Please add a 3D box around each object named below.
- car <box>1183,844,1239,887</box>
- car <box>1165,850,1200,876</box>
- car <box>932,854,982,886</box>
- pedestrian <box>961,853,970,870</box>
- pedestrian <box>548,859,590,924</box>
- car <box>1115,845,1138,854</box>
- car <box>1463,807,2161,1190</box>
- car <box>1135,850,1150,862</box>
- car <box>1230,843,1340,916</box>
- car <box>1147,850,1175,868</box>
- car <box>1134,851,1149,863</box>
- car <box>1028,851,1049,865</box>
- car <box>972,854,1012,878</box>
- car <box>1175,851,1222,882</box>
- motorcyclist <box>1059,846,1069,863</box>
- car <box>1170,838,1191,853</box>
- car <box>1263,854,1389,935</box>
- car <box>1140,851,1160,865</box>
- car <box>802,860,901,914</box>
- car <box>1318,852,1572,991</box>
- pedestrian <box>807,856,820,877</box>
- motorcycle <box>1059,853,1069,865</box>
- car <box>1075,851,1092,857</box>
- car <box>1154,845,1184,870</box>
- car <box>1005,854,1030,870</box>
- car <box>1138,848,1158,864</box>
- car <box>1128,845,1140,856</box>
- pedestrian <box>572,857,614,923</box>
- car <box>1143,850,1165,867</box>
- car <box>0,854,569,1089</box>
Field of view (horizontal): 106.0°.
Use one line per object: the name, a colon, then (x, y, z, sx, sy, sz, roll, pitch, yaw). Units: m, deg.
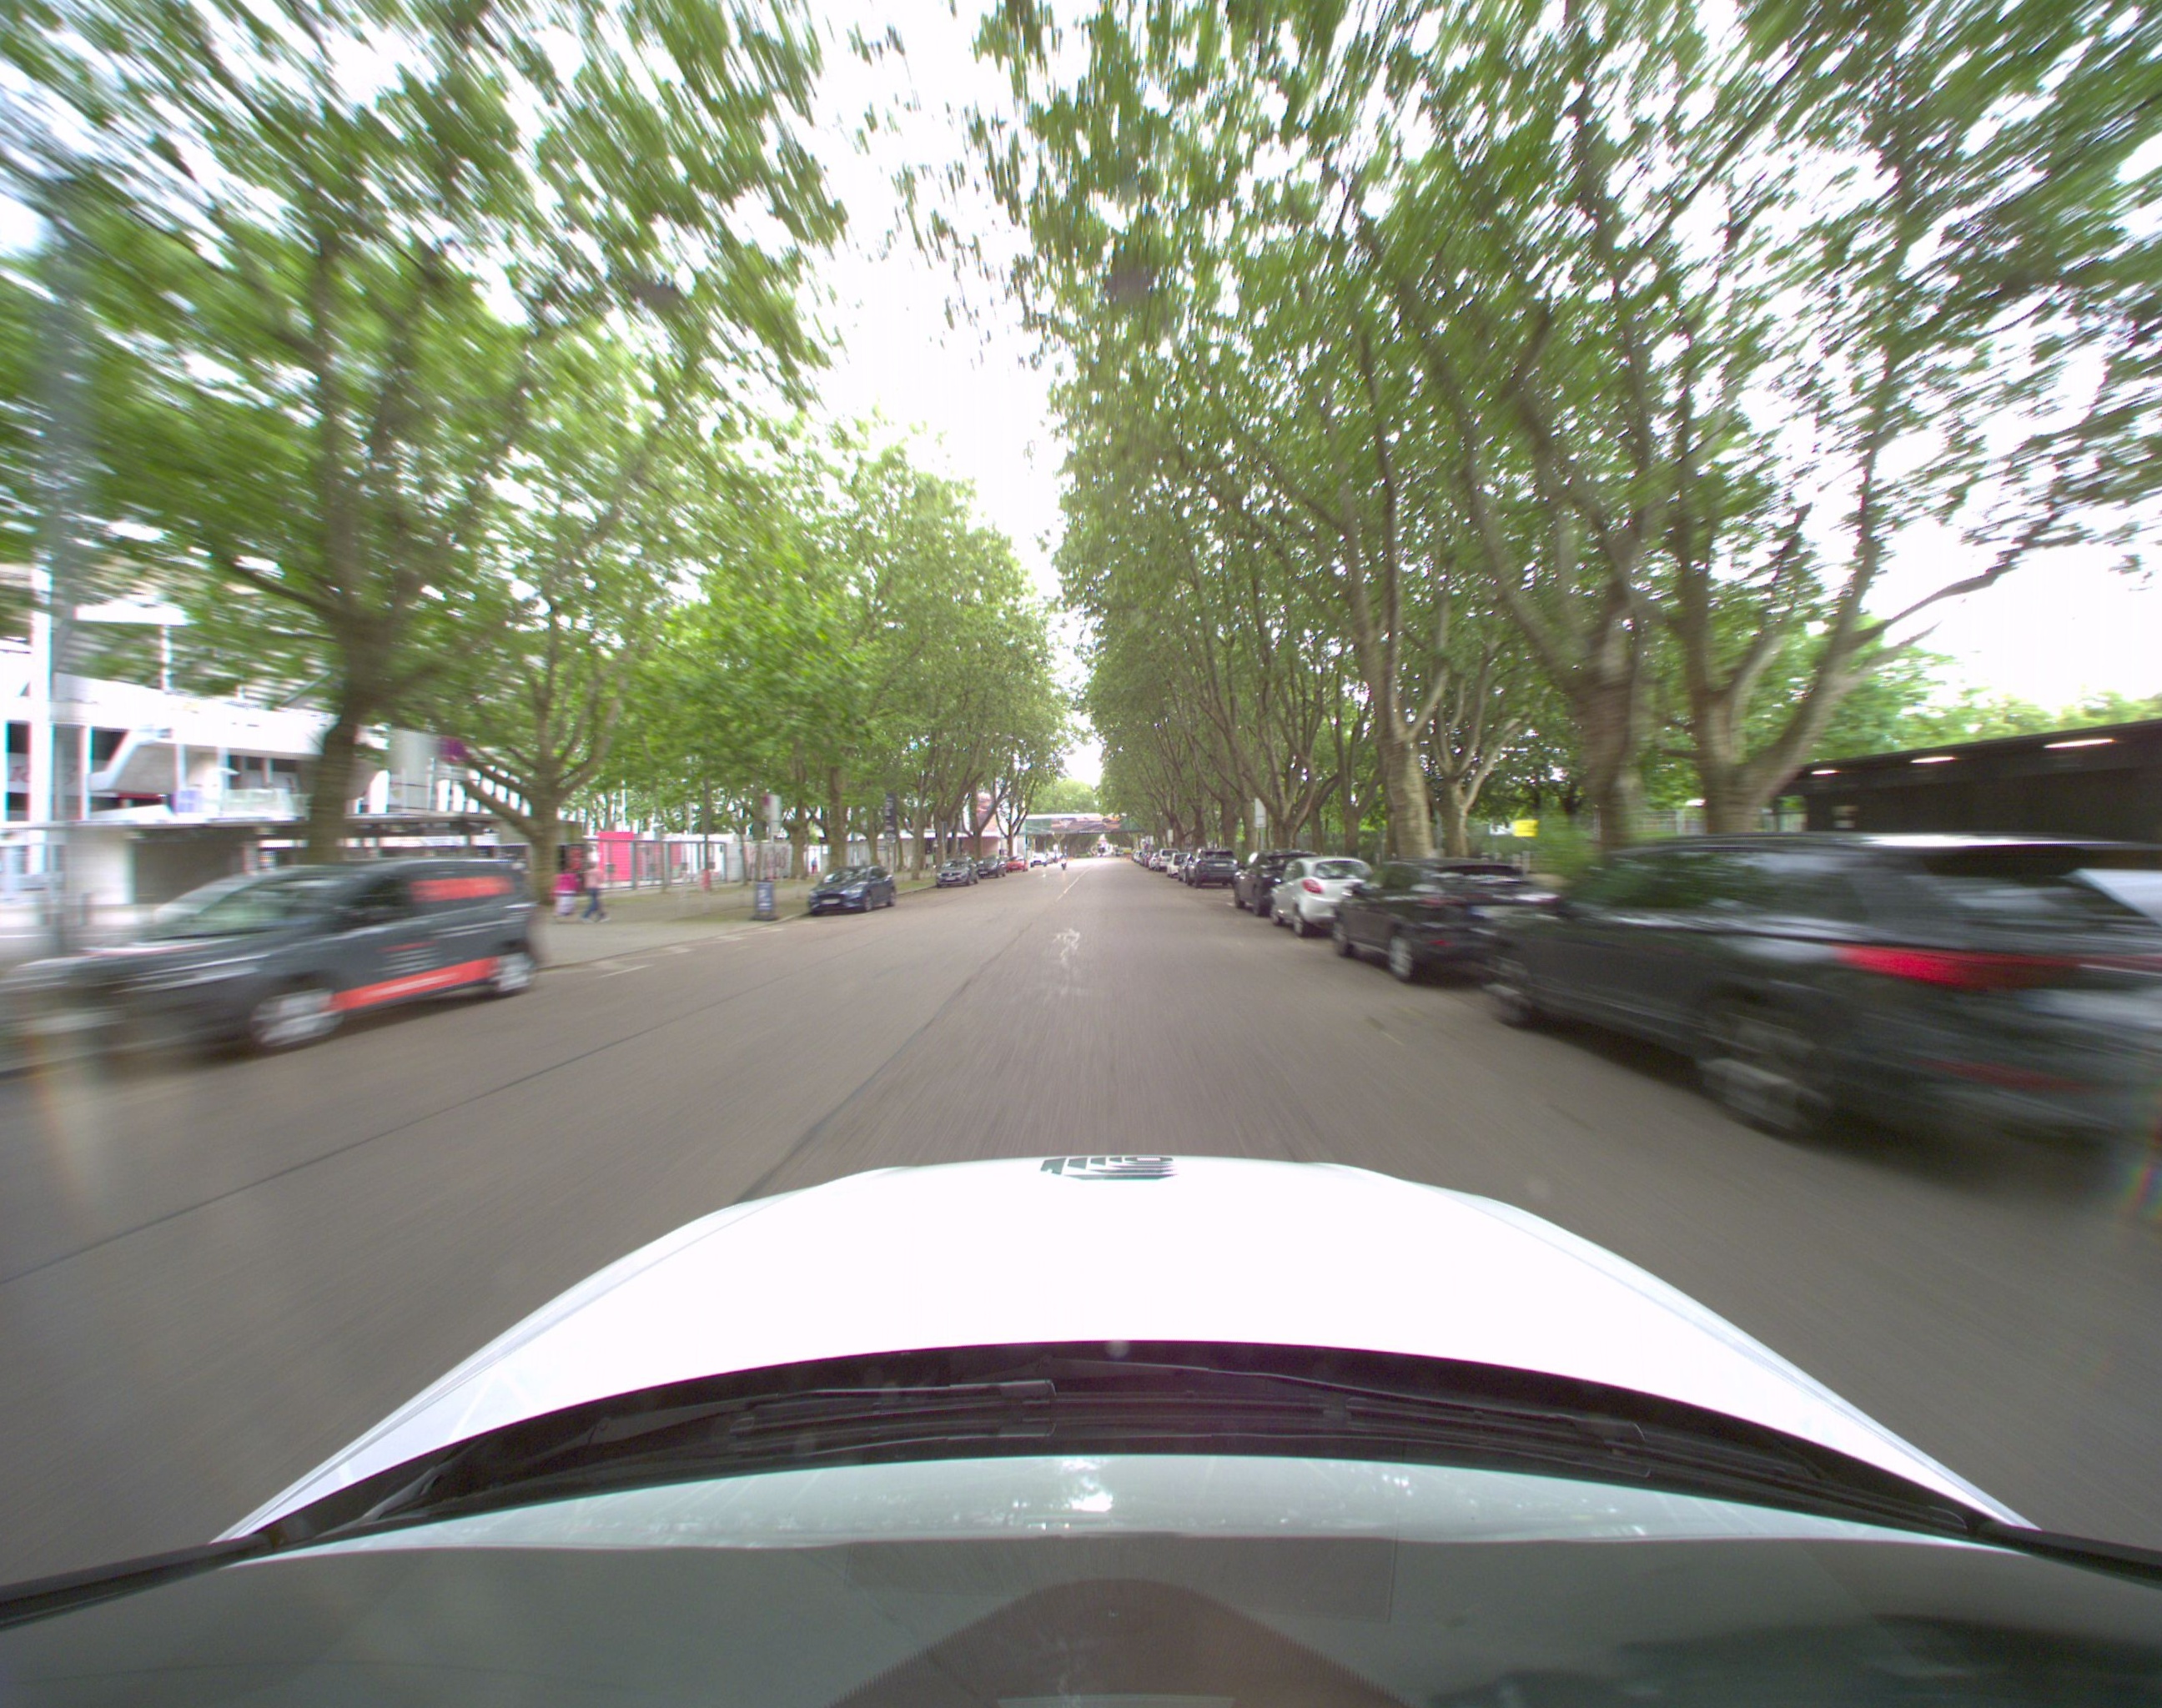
car: (5.498, 0.455, 34.949, 1.702, 1.698, 4.631, 0, 0, 0)
car: (5.907, 0.504, 47.673, 1.701, 1.427, 3.891, 0, 0, 2)
car: (-6.641, 0.817, 44.083, 1.871, 1.527, 4.153, -2, 0, 2)
pedestrian: (-11.335, 0.717, 80.093, 0.588, 1.620, 0.794, -1, 0, 11)
pedestrian: (-14.155, 1.026, 22.529, 0.570, 1.742, 0.771, -1, 0, 16)
car: (13.511, -1.349, 241.086, 6.802, 2.513, 2.316, -1, 0, -1)
car: (4.511, 0.603, 5.678, 1.749, 1.620, 4.441, 0, 0, 2)
car: (8.058, 0.234, 106.404, 1.800, 1.526, 4.098, -1, 0, 2)
car: (5.227, 0.590, 21.500, 1.771, 1.673, 4.638, -1, 0, 1)
car: (6.550, 0.403, 67.019, 1.870, 1.427, 4.587, -1, 0, 1)
car: (8.445, 0.400, 114.195, 1.907, 1.618, 4.751, -1, 0, 2)
car: (-5.114, 0.478, 97.935, 2.065, 1.563, 4.759, -1, 0, 2)
car: (-6.043, 0.769, 55.617, 1.819, 1.465, 4.632, -3, 0, 4)
car: (5.798, 0.571, 40.718, 1.702, 1.415, 4.360, -1, 0, 0)
motorcyclist: (-1.595, 0.031, 74.413, 0.868, 1.480, 1.264, -1, 0, -2)
car: (10.686, -0.945, 87.344, 1.796, 1.555, 4.001, -1, 1, 1)
car: (4.860, 0.736, 16.644, 1.610, 1.441, 3.713, 1, 0, 3)
car: (7.170, 0.407, 84.981, 1.869, 1.427, 4.482, -1, 0, 2)
car: (-7.274, 1.004, 26.300, 1.718, 1.486, 4.577, -1, 0, 2)
car: (4.630, 0.733, 11.123, 1.662, 1.509, 4.356, 0, 0, 2)
pedestrian: (-20.271, 0.941, 61.688, 0.665, 1.544, 0.660, -1, 0, 2)
motorcycle: (-1.600, 0.446, 74.324, 0.871, 1.079, 3.051, -1, 0, -2)
car: (0.695, -0.094, 231.297, 4.681, 1.584, 1.865, -1, 0, 2)
car: (6.566, 0.247, 61.324, 1.895, 1.738, 4.508, -1, 0, 2)
car: (-5.703, 0.726, 73.524, 1.801, 1.354, 4.002, -1, 0, 2)
car: (7.544, 0.195, 91.878, 1.974, 1.680, 4.732, -1, 0, 1)
car: (8.529, -0.595, 130.768, 1.840, 1.783, 5.213, 0, 0, 2)
pedestrian: (-13.438, 0.981, 22.450, 0.572, 1.770, 0.771, -1, 0, 16)
car: (6.994, 0.408, 78.307, 1.850, 1.481, 4.179, -1, 0, 1)
car: (-7.992, 0.936, 8.701, 1.942, 1.750, 4.639, -3, 0, 1)
